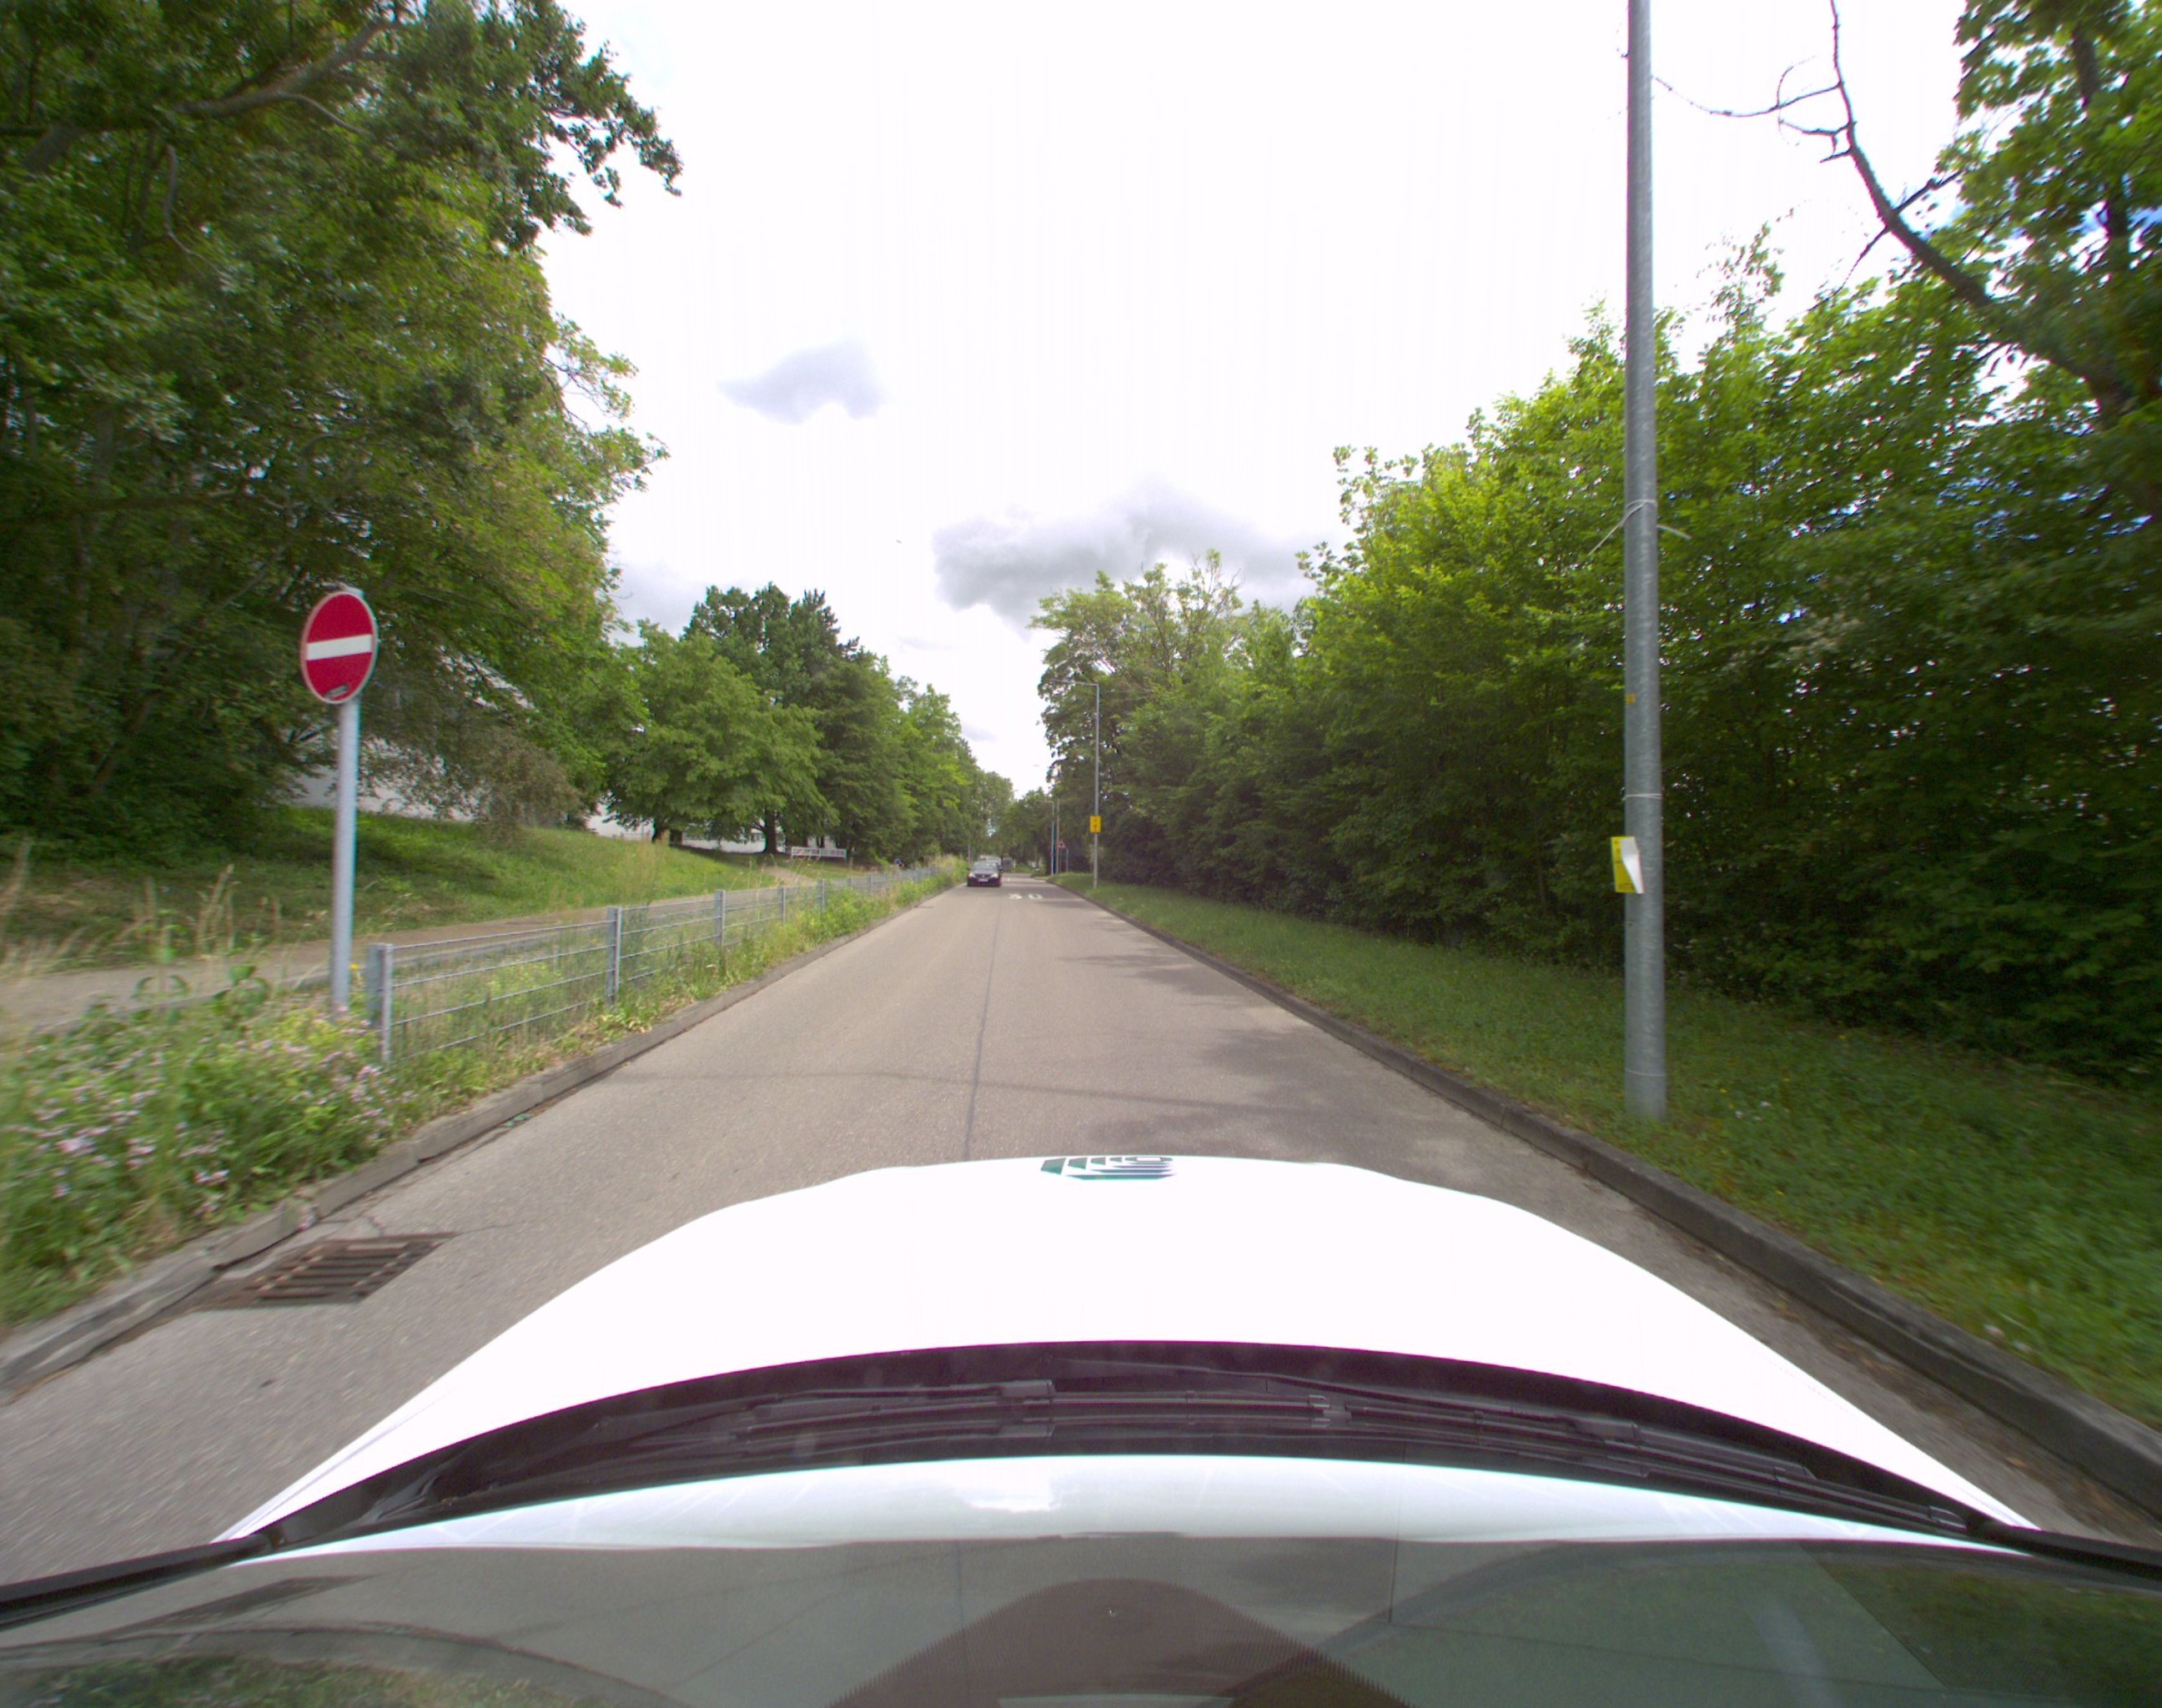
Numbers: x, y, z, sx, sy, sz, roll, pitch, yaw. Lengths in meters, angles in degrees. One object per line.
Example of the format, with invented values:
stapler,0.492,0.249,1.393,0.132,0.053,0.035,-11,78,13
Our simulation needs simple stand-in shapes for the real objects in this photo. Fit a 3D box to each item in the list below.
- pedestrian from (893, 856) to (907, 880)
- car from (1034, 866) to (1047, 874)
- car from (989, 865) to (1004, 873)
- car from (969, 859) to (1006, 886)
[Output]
pedestrian,-15.598,1.202,70.180,0.867,2.014,0.872,-5,-5,40
car,-8.891,3.553,179.067,1.848,1.492,4.009,-2,-3,9
car,-14.605,2.545,141.248,1.971,1.384,4.002,1,-1,3
car,-4.919,0.934,43.137,1.689,1.349,4.089,0,0,-3
